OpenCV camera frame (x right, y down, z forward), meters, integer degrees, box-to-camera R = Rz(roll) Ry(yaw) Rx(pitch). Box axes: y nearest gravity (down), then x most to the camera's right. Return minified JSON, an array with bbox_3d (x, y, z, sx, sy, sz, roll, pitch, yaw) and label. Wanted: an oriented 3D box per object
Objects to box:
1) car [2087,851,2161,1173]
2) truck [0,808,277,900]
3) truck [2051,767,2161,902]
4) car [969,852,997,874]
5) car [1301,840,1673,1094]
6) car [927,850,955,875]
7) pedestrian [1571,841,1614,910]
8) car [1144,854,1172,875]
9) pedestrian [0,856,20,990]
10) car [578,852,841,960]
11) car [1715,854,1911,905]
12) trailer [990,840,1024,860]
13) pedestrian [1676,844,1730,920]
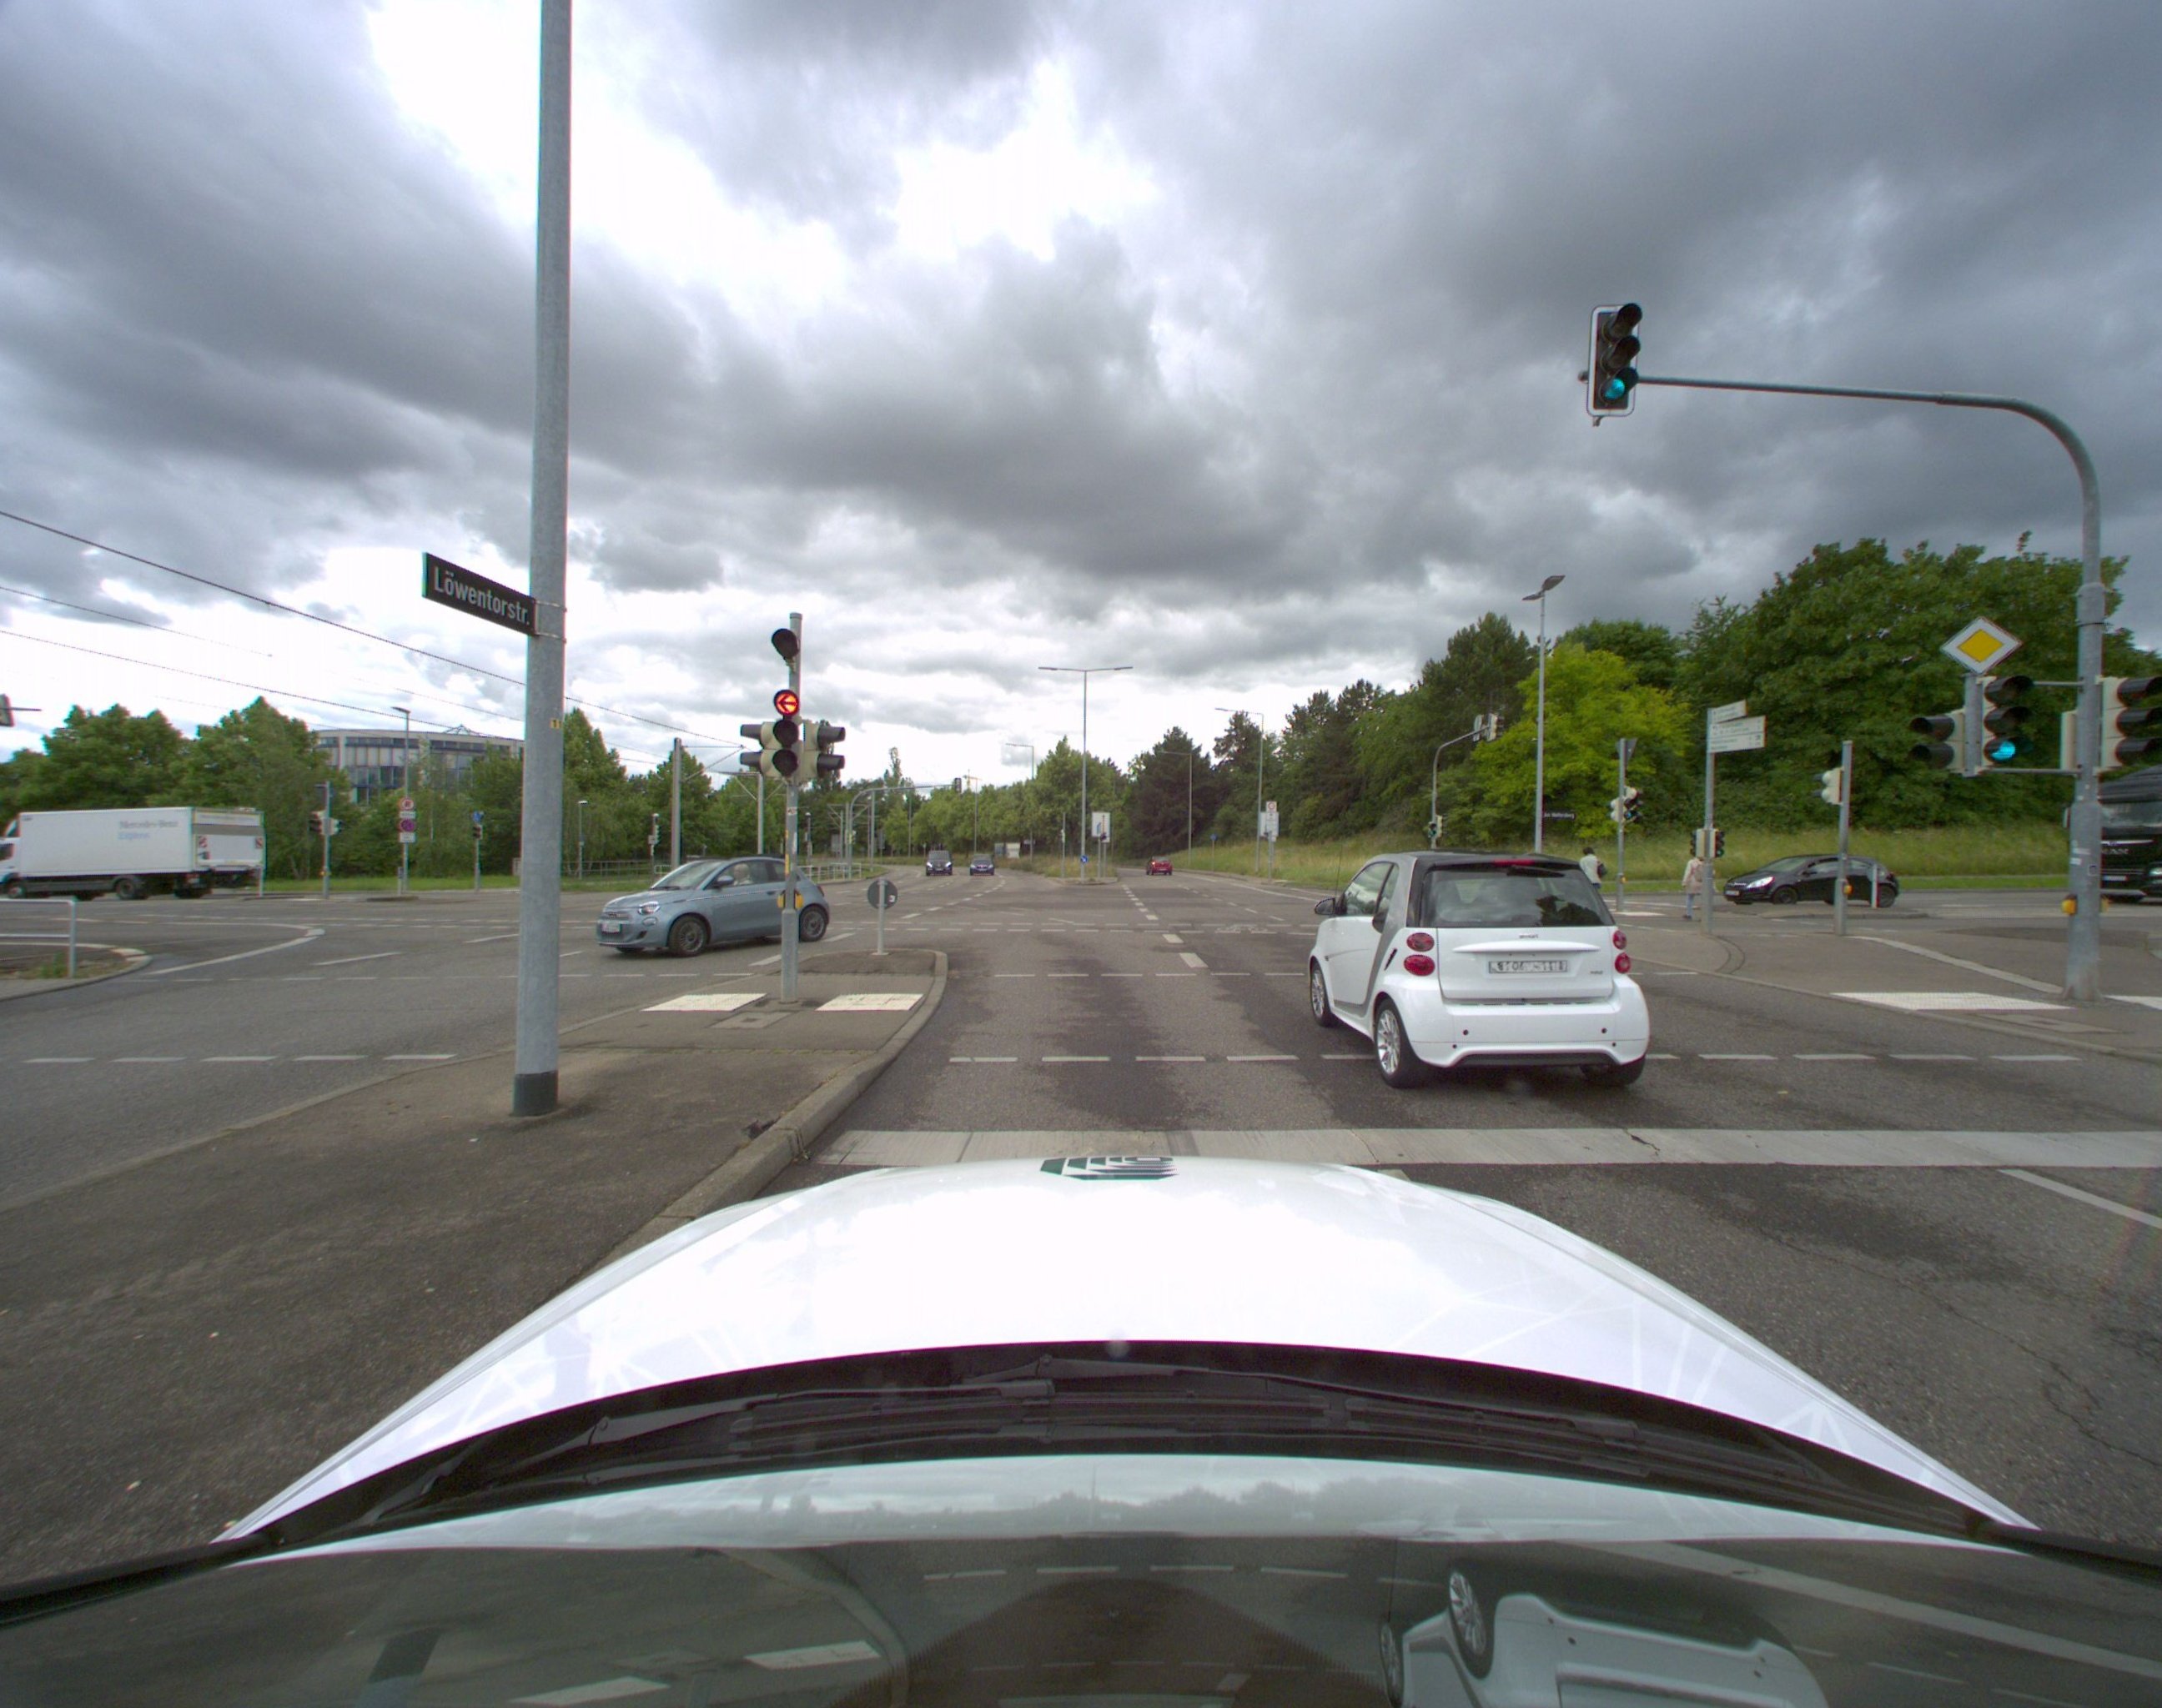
[{"bbox_3d":[5.624,0.694,1.990,1.607,1.453,3.883,0,-1,2],"label":"car"},{"bbox_3d":[-38.898,0.016,33.421,9.211,3.532,3.020,0,0,4],"label":"truck"},{"bbox_3d":[31.004,-0.526,22.051,5.971,3.486,2.694,0,-1,4],"label":"truck"},{"bbox_3d":[-7.245,0.668,60.389,1.732,1.508,3.656,0,-1,-3],"label":"car"},{"bbox_3d":[2.804,0.690,6.275,1.585,1.516,2.768,0,-1,3],"label":"car"},{"bbox_3d":[-10.548,0.618,61.576,1.886,1.812,5.079,-1,0,-7],"label":"car"},{"bbox_3d":[12.708,0.528,20.245,0.640,1.662,0.715,0,-1,8],"label":"pedestrian"},{"bbox_3d":[6.277,0.862,66.460,1.780,1.603,3.883,0,-1,-3],"label":"car"},{"bbox_3d":[-12.637,0.787,9.087,0.632,1.536,0.719,0,-1,-2],"label":"pedestrian"},{"bbox_3d":[-6.013,0.757,13.558,1.739,1.528,3.623,-1,-1,32],"label":"car"},{"bbox_3d":[20.336,0.697,22.748,3.859,1.338,1.698,0,-1,4],"label":"car"},{"bbox_3d":[-11.379,-0.606,124.023,2.765,3.012,6.026,0,-1,-32],"label":"trailer"},{"bbox_3d":[13.555,0.606,17.769,0.640,1.612,0.715,0,-1,7],"label":"pedestrian"}]
